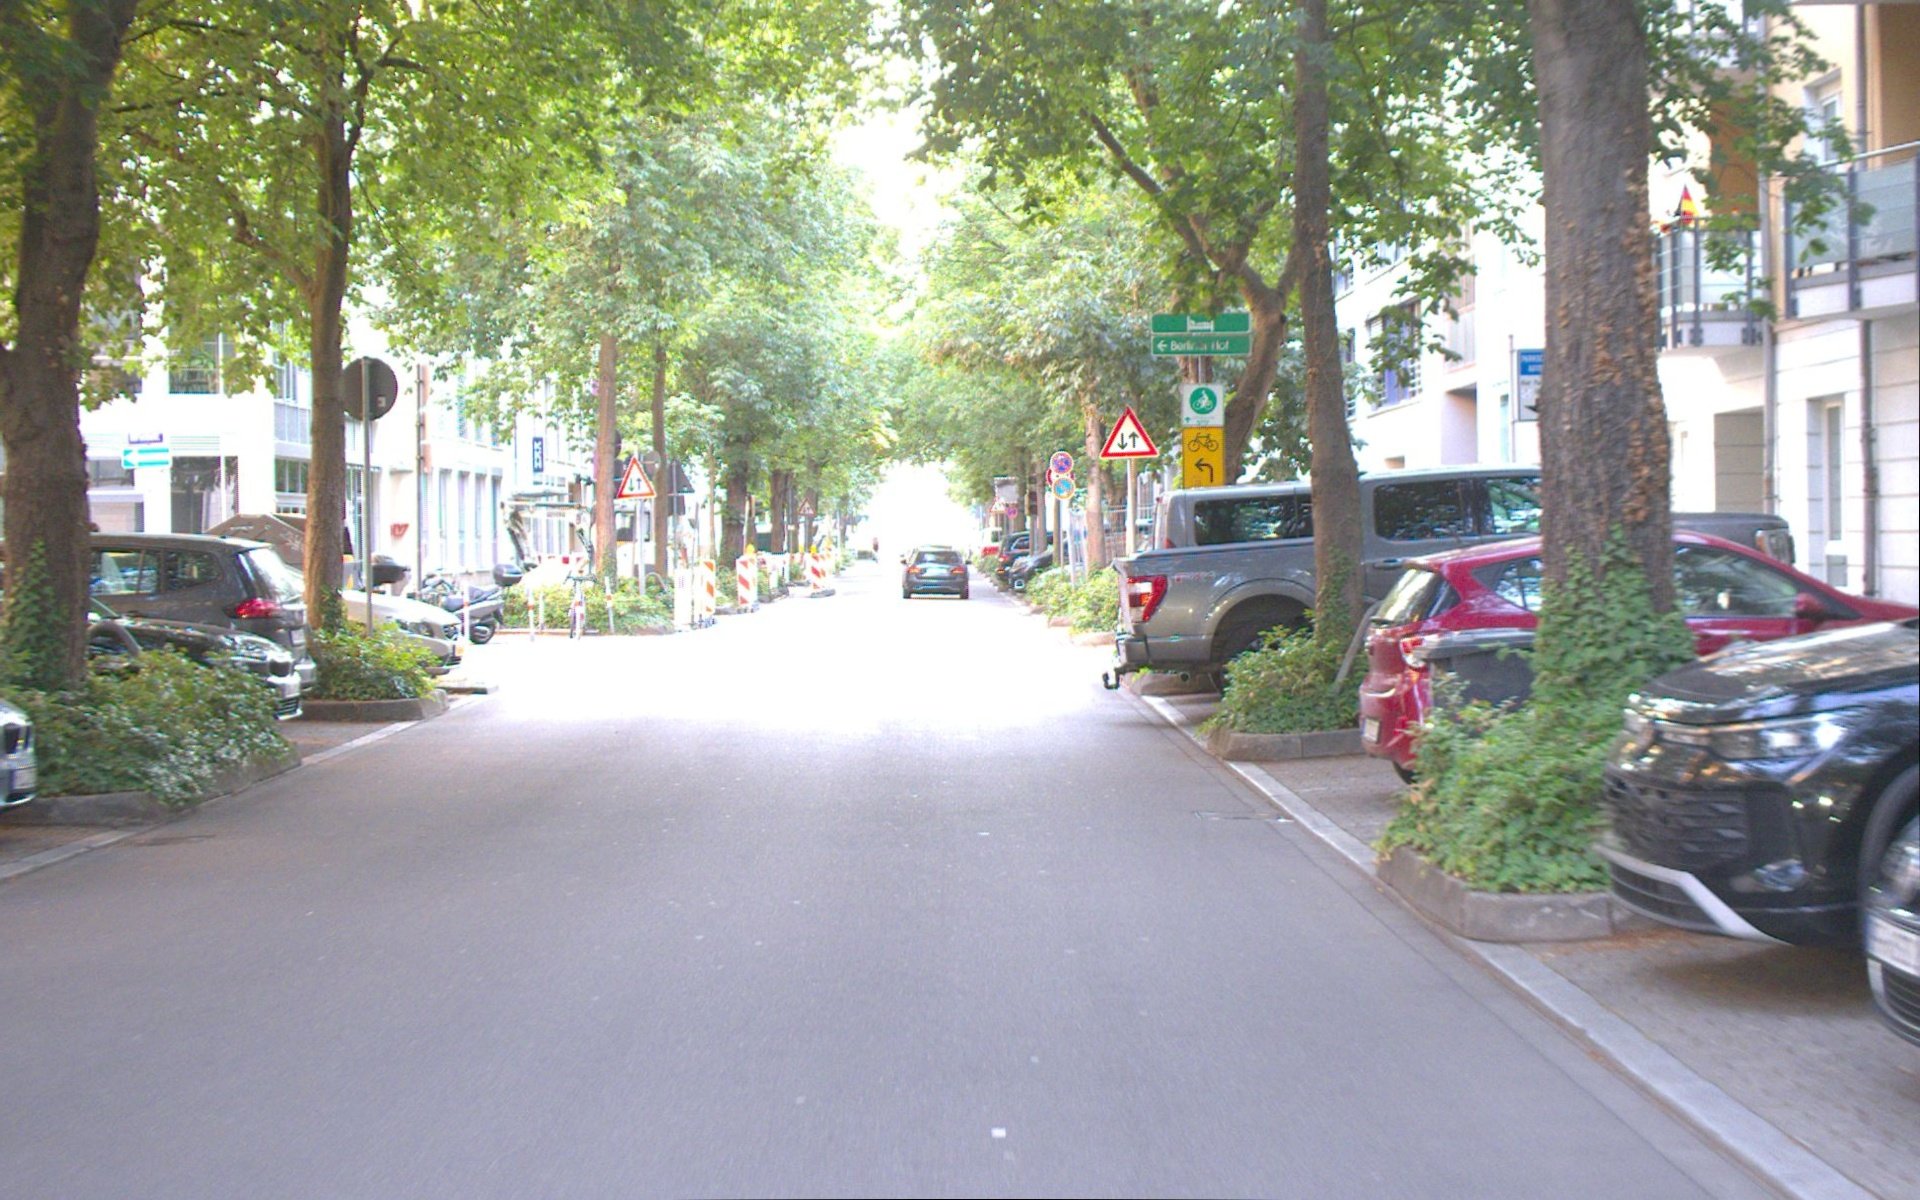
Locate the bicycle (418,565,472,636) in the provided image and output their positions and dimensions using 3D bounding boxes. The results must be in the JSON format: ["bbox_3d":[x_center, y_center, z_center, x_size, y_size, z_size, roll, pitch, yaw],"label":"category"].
[{"bbox_3d":[-8.534,-0.004,57.018,0.601,1.114,1.800,-1,2,0],"label":"bicycle"}]

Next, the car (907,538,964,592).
[{"bbox_3d":[-0.671,-0.972,94.006,1.500,1.411,3.714,-1,1,0],"label":"car"}]

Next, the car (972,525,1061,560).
[{"bbox_3d":[2.629,-2.692,160.356,3.986,1.592,2.000,-1,1,-3],"label":"car"}]

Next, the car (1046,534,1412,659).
[{"bbox_3d":[3.408,-0.063,43.865,4.278,1.503,1.873,-1,1,-12],"label":"car"}]

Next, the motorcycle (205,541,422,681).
[{"bbox_3d":[-7.064,0.113,37.616,2.217,1.488,0.691,-1,1,2],"label":"motorcycle"}]

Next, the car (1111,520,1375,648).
[{"bbox_3d":[3.782,-0.224,46.351,3.350,1.520,1.746,-3,1,1],"label":"car"}]

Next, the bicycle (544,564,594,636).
[{"bbox_3d":[-6.472,-0.010,56.927,0.601,1.114,1.800,-1,2,0],"label":"bicycle"}]

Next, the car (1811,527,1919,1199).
[{"bbox_3d":[4.077,0.511,6.160,4.572,1.546,1.773,-4,1,-1],"label":"car"}]

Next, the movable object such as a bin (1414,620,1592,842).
[{"bbox_3d":[2.709,0.646,17.192,0.774,1.064,0.589,-1,1,-1],"label":"movable object such as a bin"}]

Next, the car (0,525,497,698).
[{"bbox_3d":[-6.978,0.101,33.970,4.498,1.576,2.055,1,0,0],"label":"car"}]

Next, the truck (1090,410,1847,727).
[{"bbox_3d":[4.236,-0.275,29.482,6.004,2.125,2.261,-5,1,0],"label":"truck"}]

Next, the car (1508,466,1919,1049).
[{"bbox_3d":[4.275,0.341,11.464,4.382,1.698,1.896,-4,1,-8],"label":"car"}]

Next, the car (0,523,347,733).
[{"bbox_3d":[-7.555,0.197,29.090,4.395,1.679,2.064,1,1,-2],"label":"car"}]

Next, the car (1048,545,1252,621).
[{"bbox_3d":[4.192,-0.378,76.080,4.437,1.586,1.629,-1,1,2],"label":"car"}]

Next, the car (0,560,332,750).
[{"bbox_3d":[-7.439,0.406,26.917,4.715,1.419,2.072,0,1,-2],"label":"car"}]

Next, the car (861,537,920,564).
[{"bbox_3d":[-4.963,-3.543,245.810,3.986,1.908,1.778,-1,1,-8],"label":"car"}]

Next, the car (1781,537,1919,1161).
[{"bbox_3d":[4.322,0.495,8.754,3.987,1.520,1.727,-4,1,2],"label":"car"}]

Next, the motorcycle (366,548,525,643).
[{"bbox_3d":[-8.012,-0.084,53.624,2.373,1.436,0.801,-2,1,-40],"label":"motorcycle"}]

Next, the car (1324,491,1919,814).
[{"bbox_3d":[4.098,0.268,19.791,3.664,1.543,1.781,-4,0,-2],"label":"car"}]

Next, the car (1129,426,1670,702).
[{"bbox_3d":[4.005,-0.340,31.958,4.620,2.125,2.037,-4,1,0],"label":"car"}]

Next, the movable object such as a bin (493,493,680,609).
[{"bbox_3d":[-7.781,-1.035,71.935,3.665,2.325,2.584,-1,1,-2],"label":"movable object such as a bin"}]

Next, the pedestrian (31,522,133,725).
[{"bbox_3d":[-7.822,0.201,30.635,0.697,1.782,0.529,-1,1,-40],"label":"pedestrian"}]

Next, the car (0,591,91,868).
[{"bbox_3d":[-6.857,0.640,18.205,4.099,1.375,1.747,0,1,-2],"label":"car"}]
